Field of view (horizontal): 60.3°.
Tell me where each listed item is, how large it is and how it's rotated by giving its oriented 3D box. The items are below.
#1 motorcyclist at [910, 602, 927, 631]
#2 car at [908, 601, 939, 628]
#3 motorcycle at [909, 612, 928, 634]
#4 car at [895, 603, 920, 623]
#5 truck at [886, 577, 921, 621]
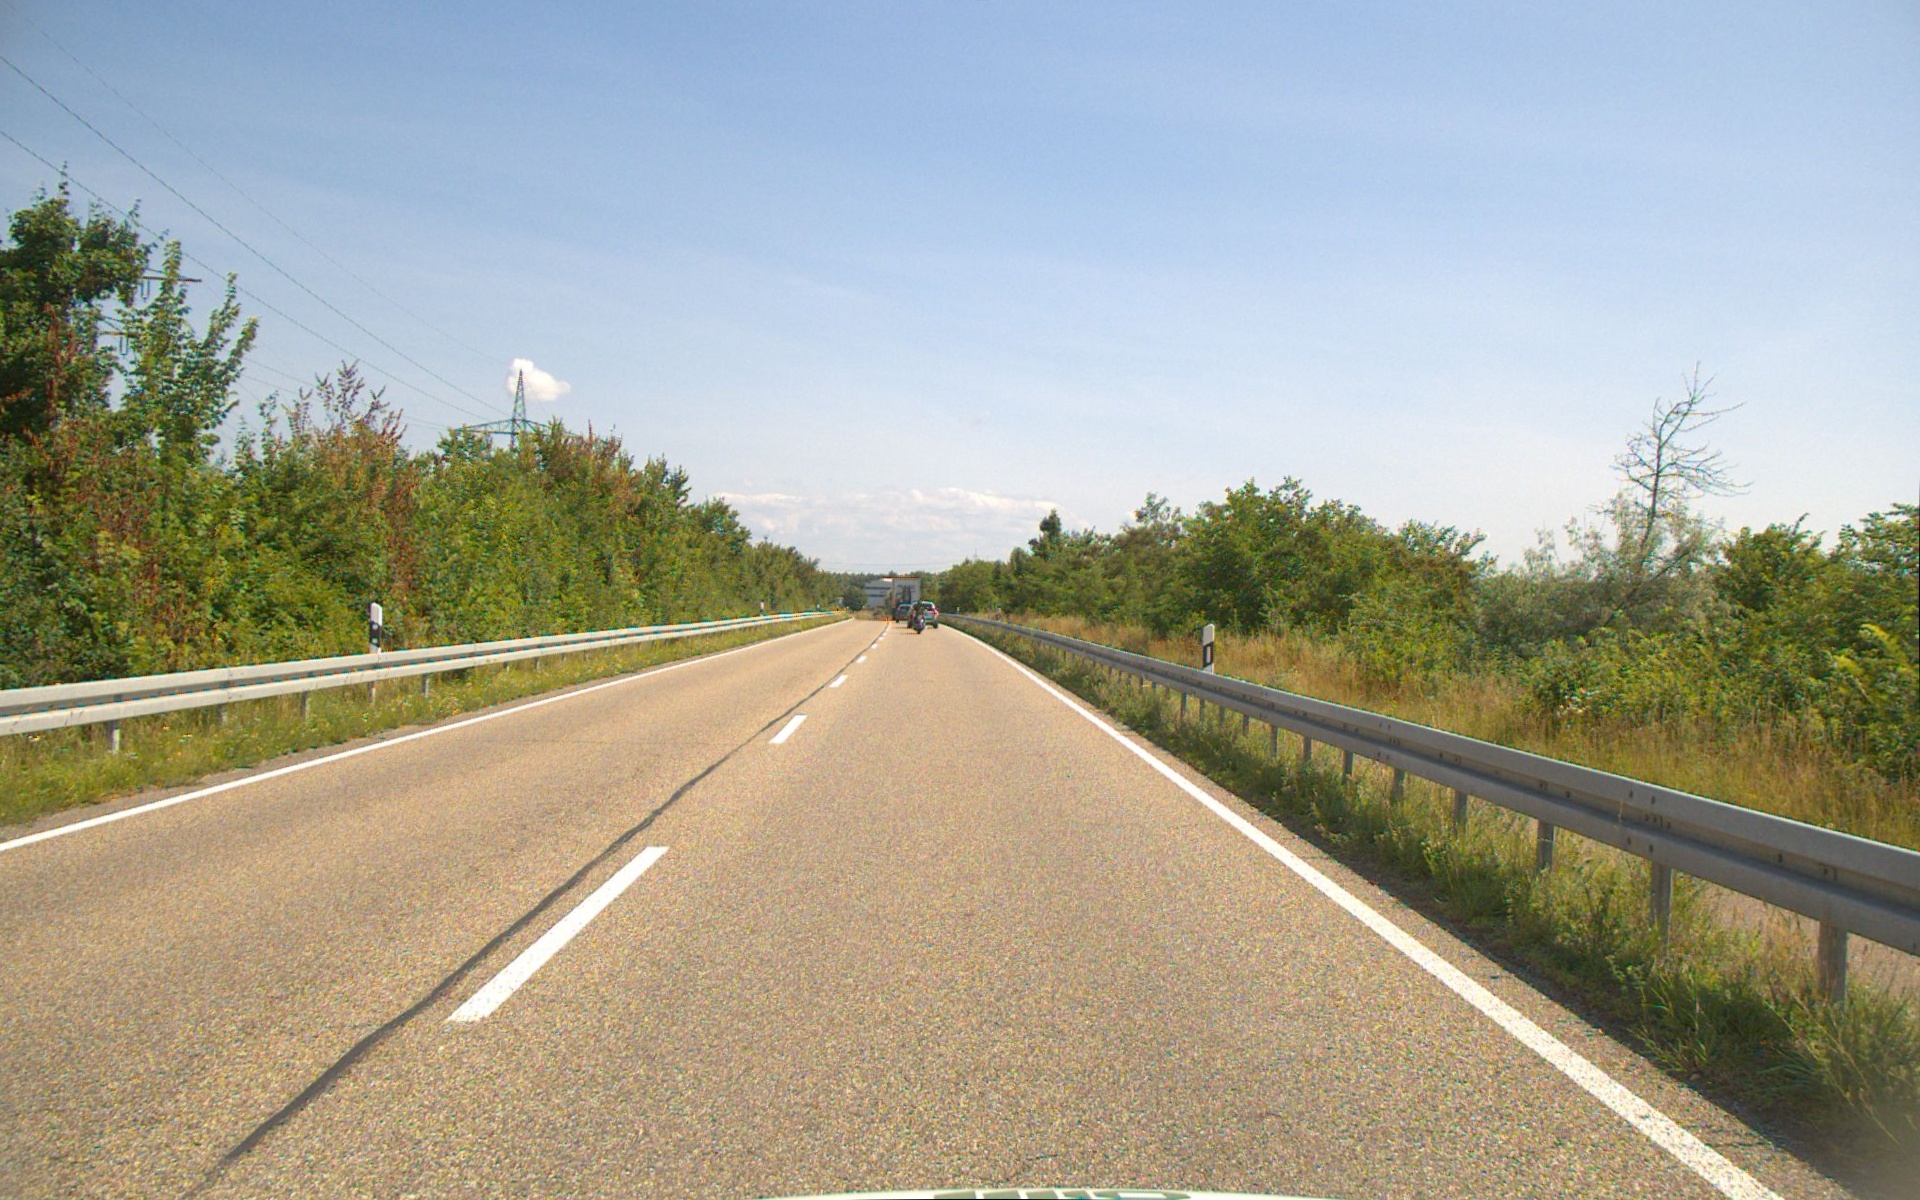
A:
[{"bbox_3d":[-1.968,0.793,78.671,0.764,1.348,0.813,1,1,1],"label":"motorcyclist"},{"bbox_3d":[-2.216,0.855,99.347,1.789,1.476,3.998,1,1,-3],"label":"car"},{"bbox_3d":[-1.984,1.090,78.654,0.764,0.992,2.362,1,1,1],"label":"motorcycle"},{"bbox_3d":[-4.169,1.052,132.021,1.827,1.445,4.001,1,1,1],"label":"car"},{"bbox_3d":[-5.432,-0.107,158.803,3.177,4.048,9.439,1,0,-3],"label":"truck"}]
